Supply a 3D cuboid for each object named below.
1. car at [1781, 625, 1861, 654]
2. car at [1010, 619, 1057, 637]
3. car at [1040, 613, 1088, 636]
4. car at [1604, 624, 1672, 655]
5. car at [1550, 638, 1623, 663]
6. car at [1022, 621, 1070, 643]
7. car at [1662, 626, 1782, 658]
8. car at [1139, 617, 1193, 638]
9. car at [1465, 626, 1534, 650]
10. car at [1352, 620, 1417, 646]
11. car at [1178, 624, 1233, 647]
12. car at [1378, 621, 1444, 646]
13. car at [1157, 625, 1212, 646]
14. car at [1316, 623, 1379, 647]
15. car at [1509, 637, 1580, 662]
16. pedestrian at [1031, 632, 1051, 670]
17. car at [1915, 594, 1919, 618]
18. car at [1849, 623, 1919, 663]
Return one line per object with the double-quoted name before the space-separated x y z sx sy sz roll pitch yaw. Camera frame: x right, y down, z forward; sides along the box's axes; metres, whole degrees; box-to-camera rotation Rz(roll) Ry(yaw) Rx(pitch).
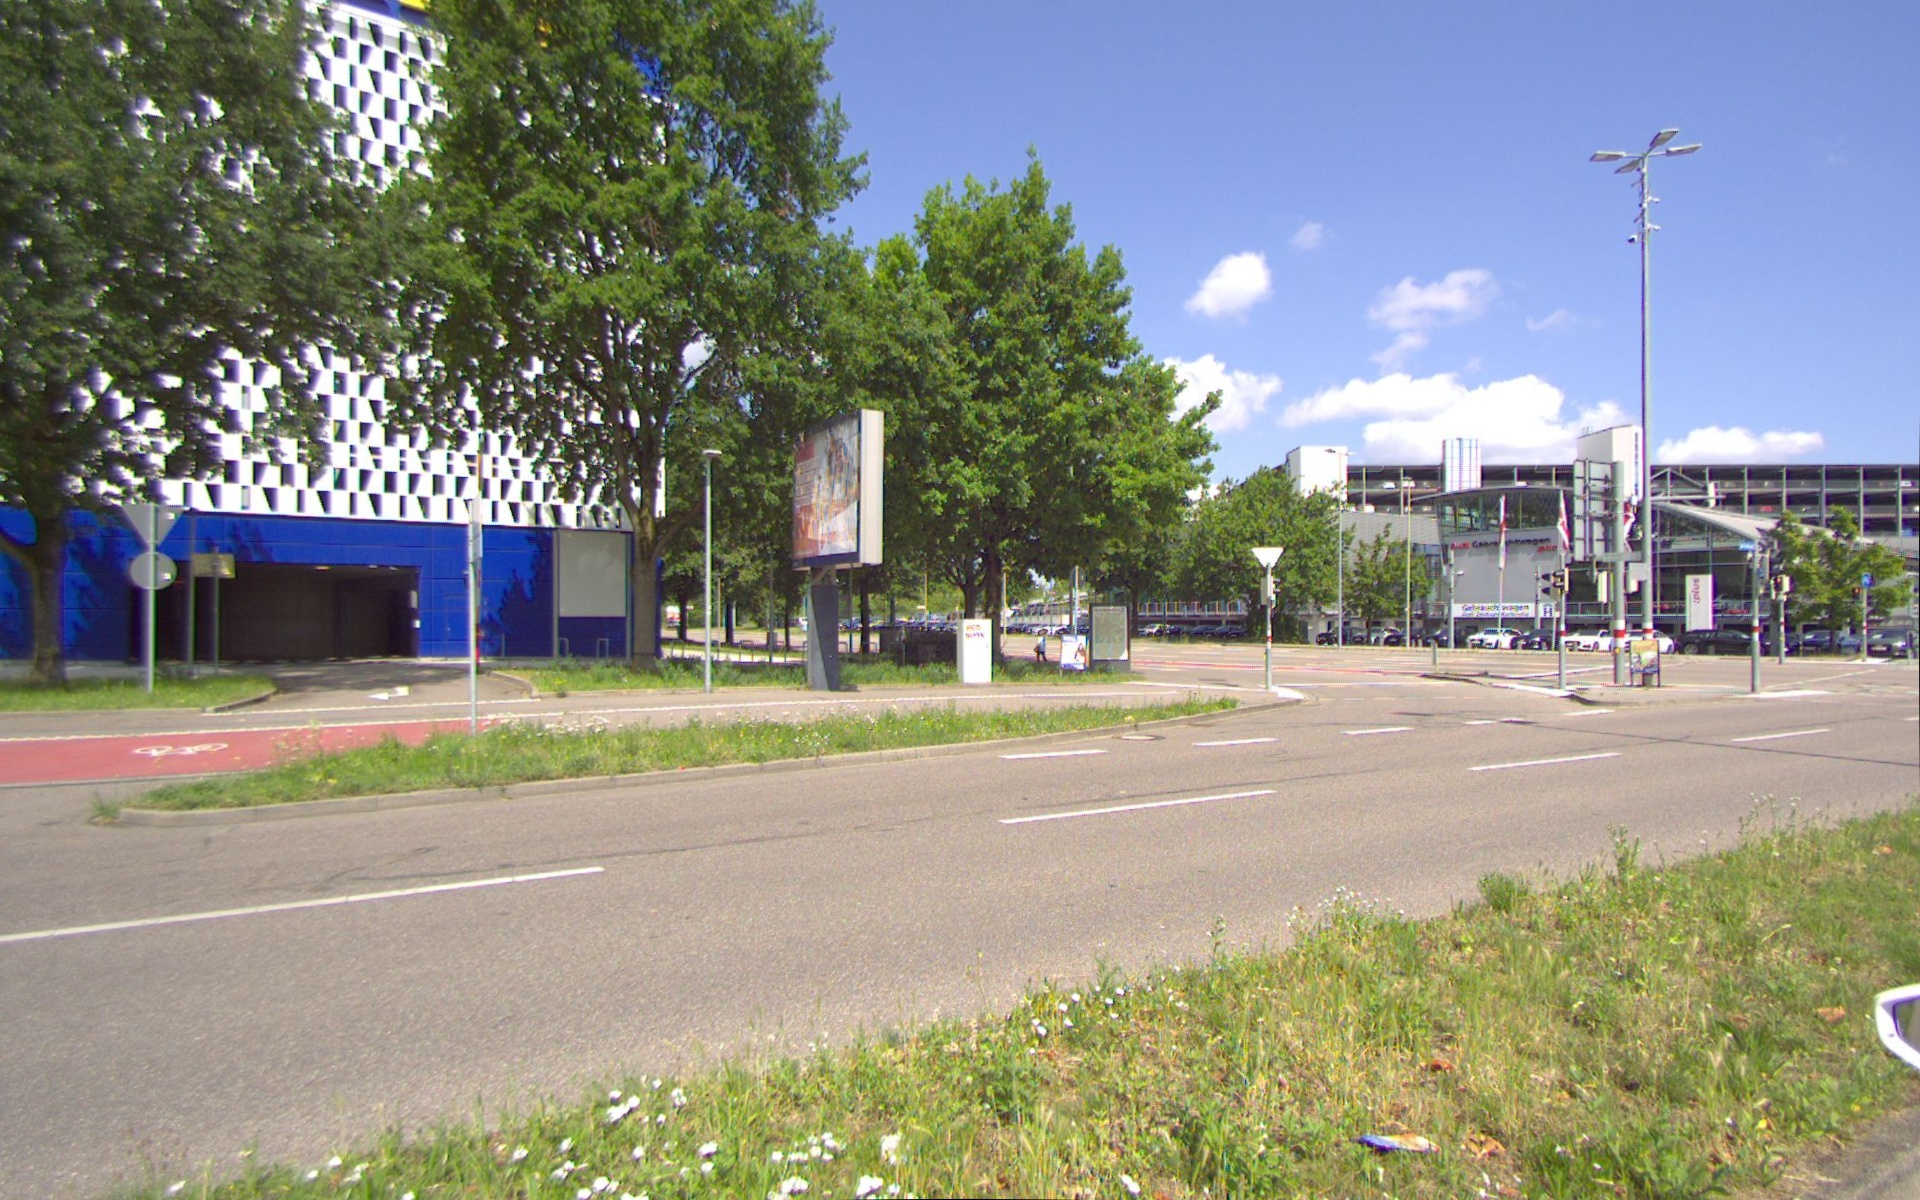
"car" 42.055 1.930 49.051 4.543 1.314 1.889 2 0 -35
"car" 7.501 2.816 102.560 4.543 1.700 1.889 2 0 -35
"car" 10.149 2.415 97.835 4.543 2.076 1.889 2 0 -35
"car" 37.339 2.200 55.291 3.961 1.483 1.779 5 -4 -35
"car" 35.967 2.911 57.622 4.543 1.314 1.889 2 0 -35
"car" 8.635 3.263 100.715 4.543 2.076 1.889 2 0 -35
"car" 39.914 2.175 52.721 1.778 1.483 4.710 5 -4 -34
"car" 17.701 2.385 86.280 4.543 1.700 1.889 2 0 -35
"car" 33.228 2.340 61.849 4.543 1.314 1.889 2 0 -35
"car" 28.914 2.279 68.396 4.545 1.423 1.889 5 -2 -35
"car" 20.290 2.938 82.979 4.543 1.700 1.889 2 0 -35
"car" 29.829 2.233 66.464 4.544 1.402 1.889 4 -2 -35
"car" 18.877 2.993 84.441 4.543 1.700 1.889 2 0 -35
"car" 27.308 2.460 70.690 4.544 1.423 1.889 4 -1 -35
"car" 34.553 2.914 59.329 4.543 1.314 1.889 2 0 -35
"pedestrian" 3.500 2.190 43.224 0.499 1.576 0.753 1 -1 -34
"car" 76.068 0.511 76.593 1.747 1.825 4.412 2 0 -35
"car" 43.327 2.013 46.739 4.543 1.700 1.889 2 0 -35
